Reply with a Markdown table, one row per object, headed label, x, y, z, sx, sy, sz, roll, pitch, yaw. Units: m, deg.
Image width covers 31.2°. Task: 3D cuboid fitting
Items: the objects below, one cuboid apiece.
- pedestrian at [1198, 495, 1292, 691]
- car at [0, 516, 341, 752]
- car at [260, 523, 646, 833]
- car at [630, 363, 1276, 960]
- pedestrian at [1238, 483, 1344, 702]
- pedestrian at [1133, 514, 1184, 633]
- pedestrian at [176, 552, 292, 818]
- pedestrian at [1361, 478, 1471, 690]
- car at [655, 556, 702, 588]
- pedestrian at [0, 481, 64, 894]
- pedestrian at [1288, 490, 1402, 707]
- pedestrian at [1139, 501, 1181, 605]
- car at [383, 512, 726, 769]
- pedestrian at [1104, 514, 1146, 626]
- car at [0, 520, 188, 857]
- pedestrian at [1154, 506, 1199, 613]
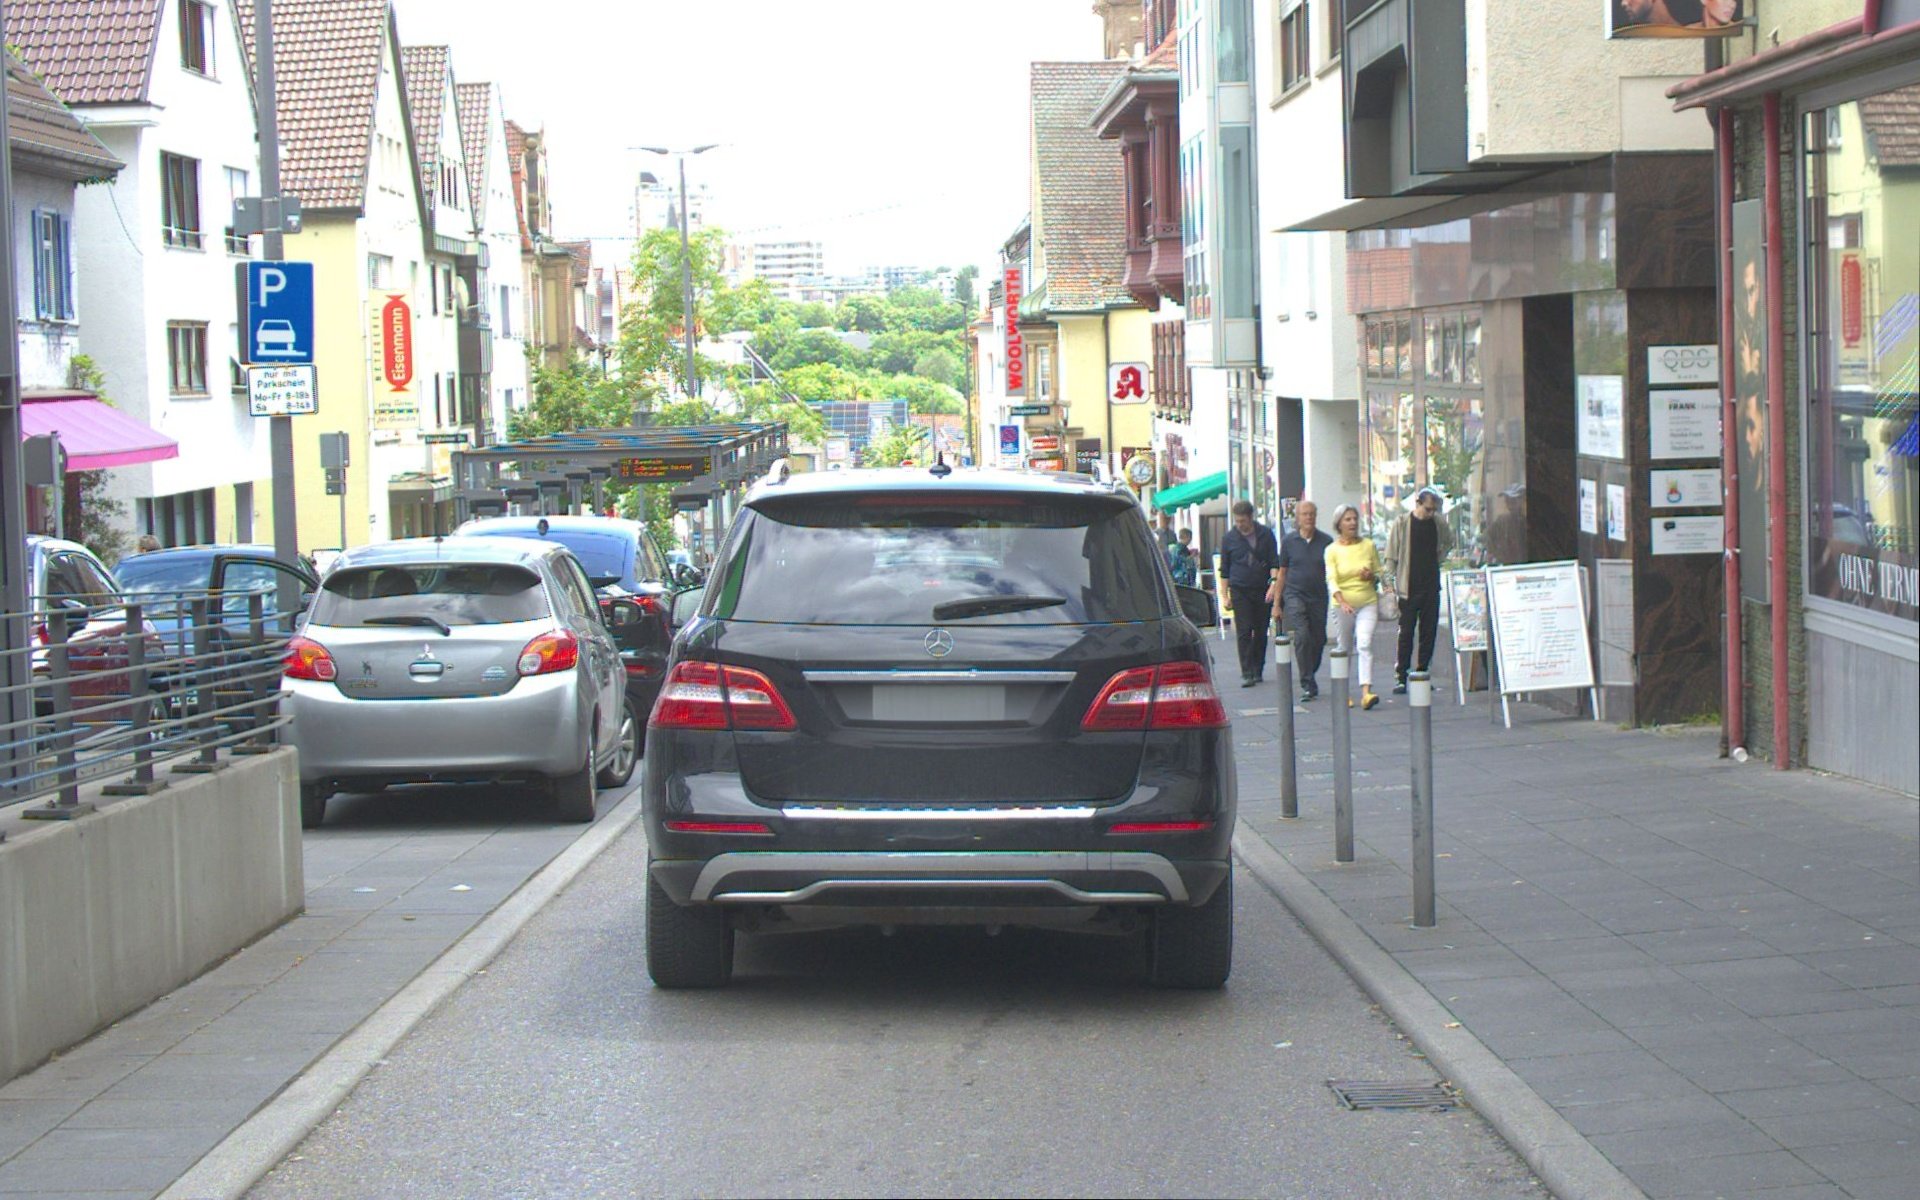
| label | x | y | z | sx | sy | sz | roll | pitch | yaw |
| --- | --- | --- | --- | --- | --- | --- | --- | --- | --- |
| pedestrian | 2.616 | -0.071 | 31.655 | 0.711 | 1.747 | 0.787 | -3 | 1 | -1 |
| car | -5.656 | 0.174 | 24.275 | 1.739 | 1.470 | 3.884 | 1 | 2 | 2 |
| car | -2.686 | 0.360 | 18.912 | 1.620 | 1.527 | 3.670 | 1 | 1 | -1 |
| car | -0.100 | 0.125 | 12.338 | 1.900 | 1.741 | 4.001 | -2 | 2 | -2 |
| pedestrian | 2.735 | -0.068 | 28.444 | 0.711 | 1.747 | 0.785 | -3 | 1 | -1 |
| pedestrian | 2.844 | -0.383 | 49.229 | 0.621 | 1.683 | 0.566 | 1 | 1 | -7 |
| pedestrian | -3.996 | 0.459 | 18.955 | 0.466 | 1.427 | 0.492 | -3 | 1 | -1 |
| pedestrian | 3.751 | -0.136 | 28.279 | 0.662 | 1.683 | 0.543 | -5 | 1 | -7 |
| car | -9.845 | -0.999 | 120.468 | 1.388 | 1.066 | 3.113 | -2 | 1 | 0 |
| pedestrian | -4.132 | 0.344 | 14.285 | 0.533 | 1.666 | 0.901 | 0 | 2 | 2 |
| pedestrian | 2.976 | -0.021 | 26.636 | 0.711 | 1.625 | 0.835 | -3 | 1 | -1 |
| pedestrian | 3.271 | -0.766 | 56.177 | 0.573 | 1.683 | 0.566 | 1 | 1 | -7 |
| car | -2.755 | 0.228 | 24.263 | 1.956 | 1.634 | 4.315 | 1 | 1 | -1 |
| pedestrian | 2.587 | -0.472 | 53.870 | 0.542 | 1.720 | 0.528 | -2 | 1 | -7 |
| car | -5.273 | 0.366 | 17.622 | 1.739 | 1.537 | 4.193 | 1 | 1 | -1 |
| pedestrian | 3.478 | -0.654 | 55.262 | 0.573 | 1.683 | 0.566 | -2 | 1 | -7 |
